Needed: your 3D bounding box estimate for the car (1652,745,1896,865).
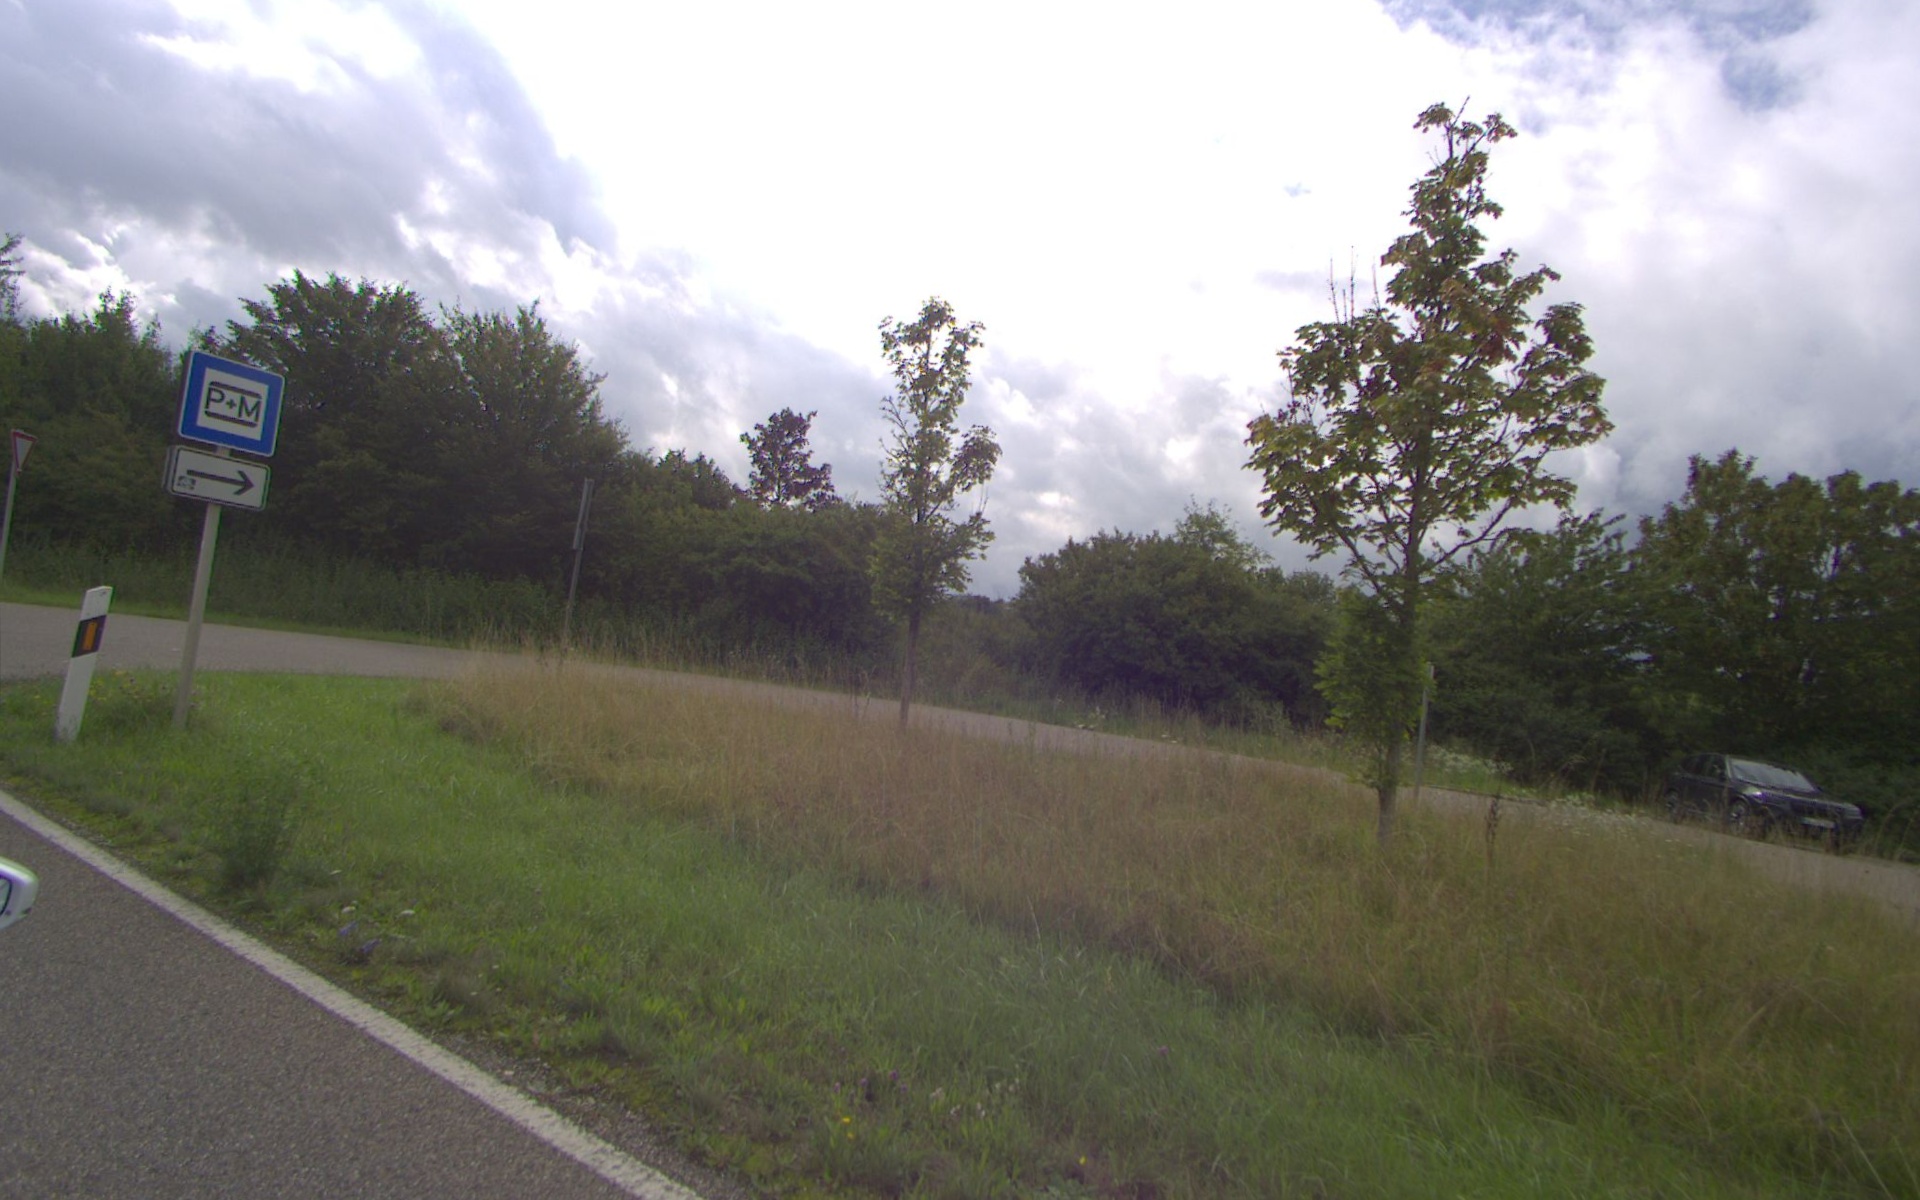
[{"bbox_3d":[16.472,4.082,20.723,1.962,1.598,4.500,7,-3,13],"label":"car"}]
